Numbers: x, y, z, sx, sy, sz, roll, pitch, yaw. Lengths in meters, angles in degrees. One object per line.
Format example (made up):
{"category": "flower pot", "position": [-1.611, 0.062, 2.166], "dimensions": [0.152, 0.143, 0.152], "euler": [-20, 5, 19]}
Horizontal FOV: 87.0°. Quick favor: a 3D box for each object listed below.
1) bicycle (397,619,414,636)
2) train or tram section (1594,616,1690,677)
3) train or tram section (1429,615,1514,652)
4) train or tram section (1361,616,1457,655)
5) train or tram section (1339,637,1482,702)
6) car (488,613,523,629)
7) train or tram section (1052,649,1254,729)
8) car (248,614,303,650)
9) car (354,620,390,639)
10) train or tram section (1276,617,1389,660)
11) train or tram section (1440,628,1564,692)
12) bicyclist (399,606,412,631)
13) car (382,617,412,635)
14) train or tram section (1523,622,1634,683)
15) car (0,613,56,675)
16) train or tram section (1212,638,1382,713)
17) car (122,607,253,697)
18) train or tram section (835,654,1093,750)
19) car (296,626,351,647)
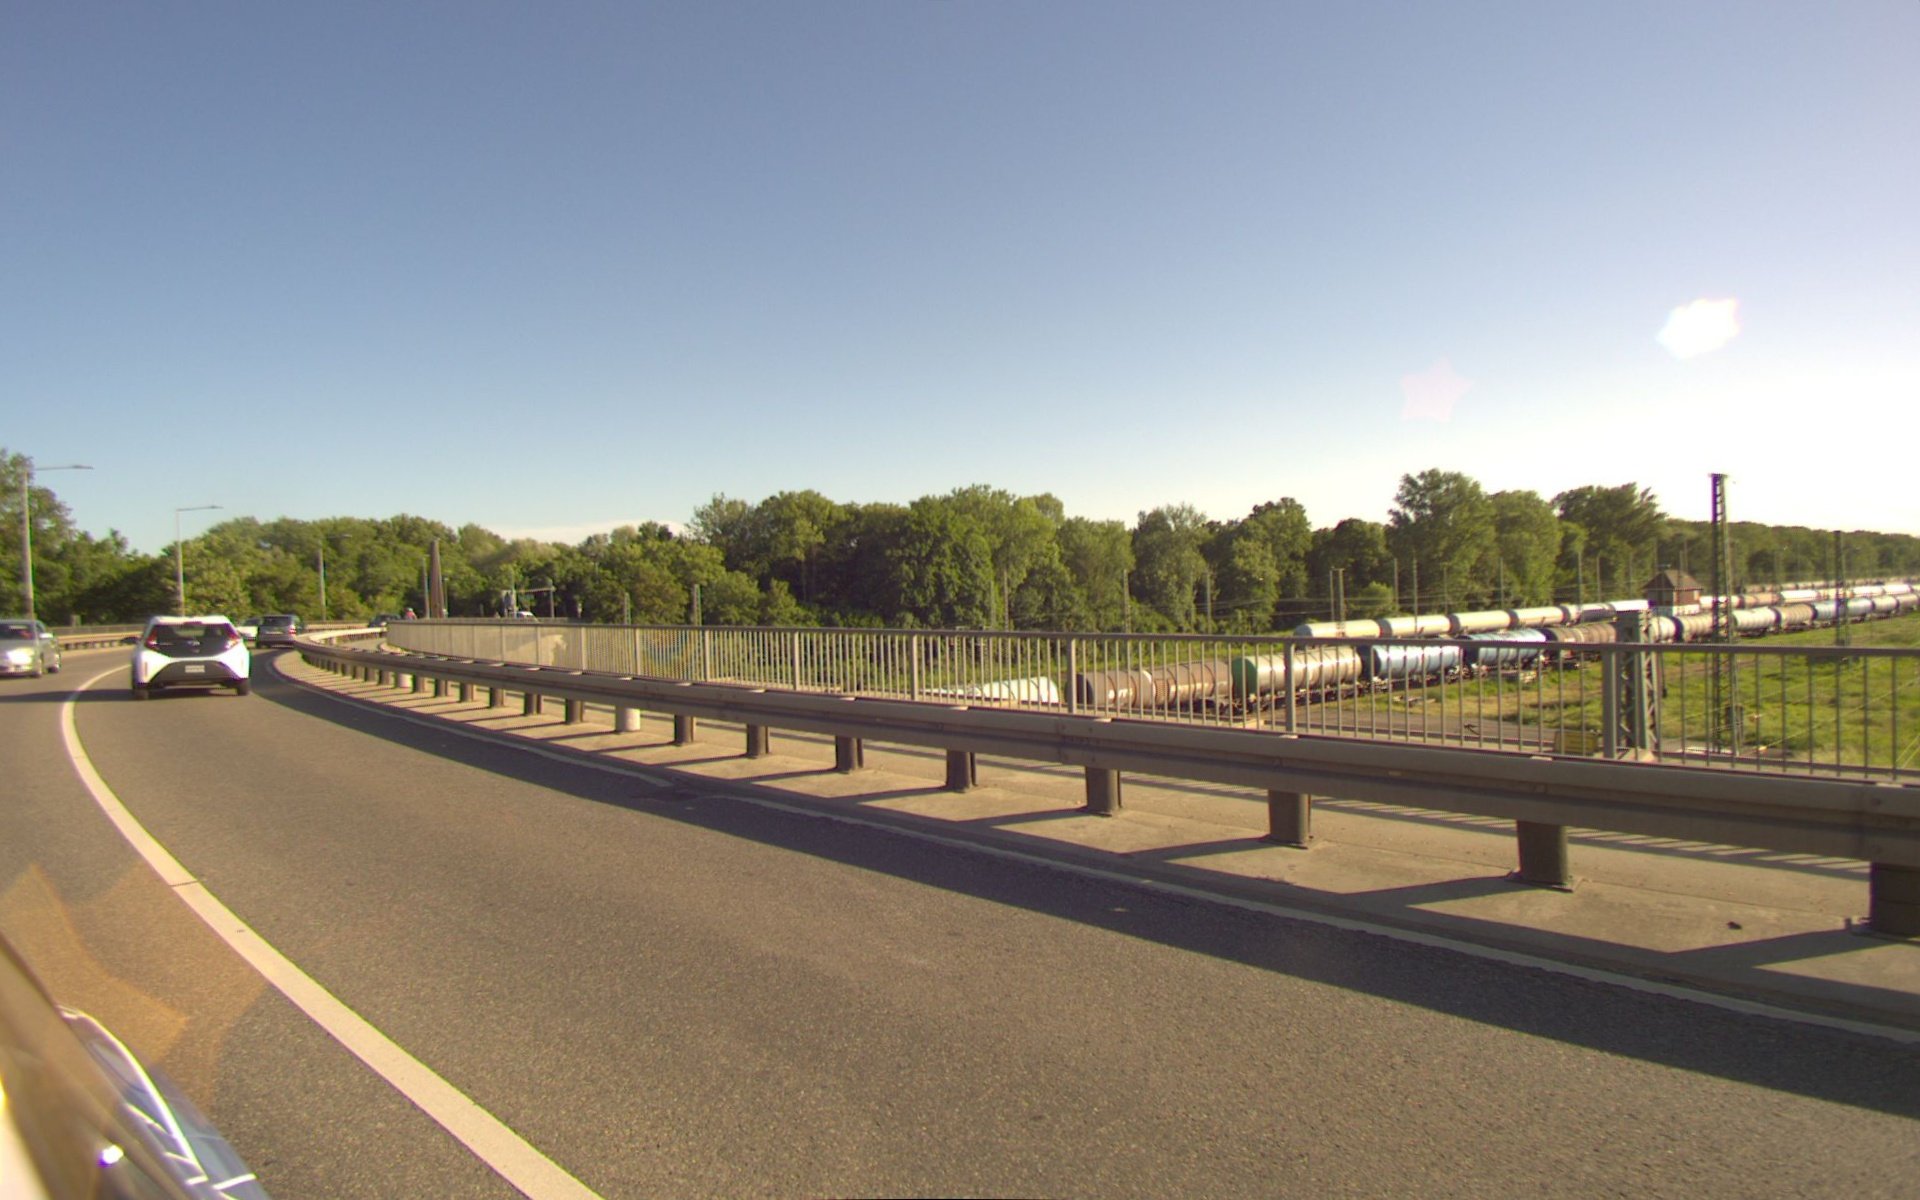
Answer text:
{"category": "bicycle", "position": [-35.133, 1.713, 64.144], "dimensions": [0.644, 1.073, 1.896], "euler": [0, -1, -19]}
{"category": "train or tram section", "position": [80.081, 5.245, 118.593], "dimensions": [16.232, 6.661, 3.915], "euler": [0, -1, -36]}
{"category": "train or tram section", "position": [77.720, 4.952, 153.356], "dimensions": [17.576, 5.125, 4.058], "euler": [0, -1, -37]}
{"category": "train or tram section", "position": [63.490, 4.903, 142.745], "dimensions": [17.890, 5.125, 4.058], "euler": [0, -1, -37]}
{"category": "train or tram section", "position": [40.251, 5.954, 89.937], "dimensions": [16.097, 5.054, 3.915], "euler": [0, -1, -36]}
{"category": "car", "position": [-75.564, 3.526, 168.280], "dimensions": [5.676, 2.518, 2.096], "euler": [-3, -2, 26]}
{"category": "train or tram section", "position": [13.858, 6.008, 71.012], "dimensions": [16.043, 4.626, 3.915], "euler": [0, -1, -36]}
{"category": "car", "position": [-33.156, 1.532, 49.121], "dimensions": [1.823, 1.635, 4.115], "euler": [0, -1, -29]}
{"category": "car", "position": [-51.591, 2.583, 88.836], "dimensions": [1.890, 1.630, 3.753], "euler": [0, -1, -16]}
{"category": "train or tram section", "position": [48.665, 4.853, 131.714], "dimensions": [19.037, 5.125, 4.058], "euler": [0, -1, -37]}
{"category": "train or tram section", "position": [53.388, 5.701, 99.379], "dimensions": [16.232, 5.561, 3.915], "euler": [0, -1, -36]}
{"category": "bicyclist", "position": [-35.160, 1.187, 64.184], "dimensions": [0.644, 1.601, 0.770], "euler": [0, -1, -19]}
{"category": "car", "position": [-45.023, 2.079, 81.019], "dimensions": [1.720, 1.365, 4.196], "euler": [0, -1, -24]}
{"category": "train or tram section", "position": [66.747, 5.477, 108.982], "dimensions": [16.680, 6.055, 3.915], "euler": [0, -1, -36]}
{"category": "car", "position": [-24.133, 1.075, 25.383], "dimensions": [1.736, 1.447, 4.340], "euler": [0, -1, -36]}
{"category": "train or tram section", "position": [27.059, 5.777, 80.491], "dimensions": [16.392, 5.054, 3.915], "euler": [0, -1, -36]}
{"category": "car", "position": [-14.801, 0.926, 19.309], "dimensions": [1.814, 1.530, 3.776], "euler": [0, -1, -40]}
{"category": "train or tram section", "position": [0.645, 5.899, 61.515], "dimensions": [16.492, 4.626, 3.915], "euler": [0, -1, -36]}
{"category": "car", "position": [-48.015, 2.762, 76.432], "dimensions": [1.964, 1.484, 4.135], "euler": [0, -1, -6]}
